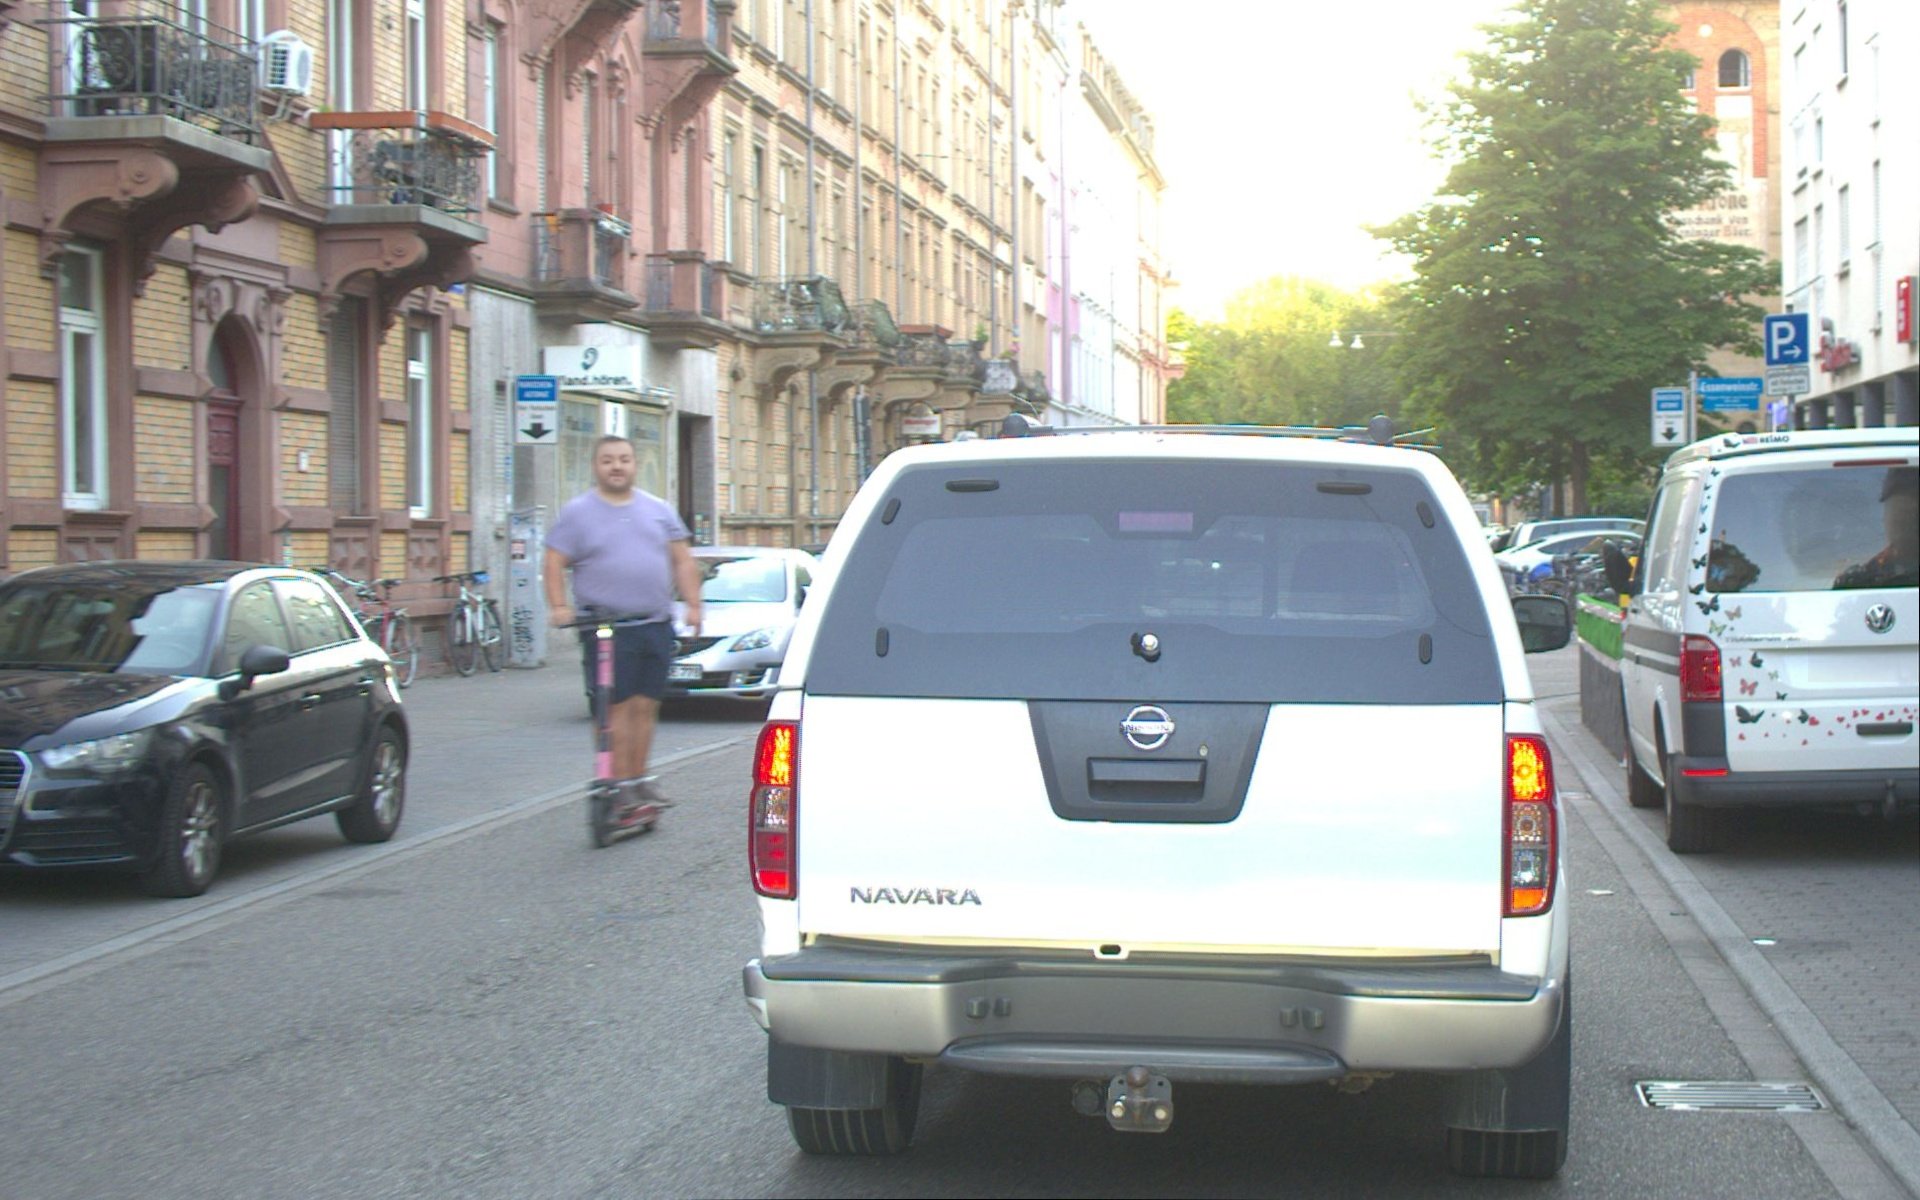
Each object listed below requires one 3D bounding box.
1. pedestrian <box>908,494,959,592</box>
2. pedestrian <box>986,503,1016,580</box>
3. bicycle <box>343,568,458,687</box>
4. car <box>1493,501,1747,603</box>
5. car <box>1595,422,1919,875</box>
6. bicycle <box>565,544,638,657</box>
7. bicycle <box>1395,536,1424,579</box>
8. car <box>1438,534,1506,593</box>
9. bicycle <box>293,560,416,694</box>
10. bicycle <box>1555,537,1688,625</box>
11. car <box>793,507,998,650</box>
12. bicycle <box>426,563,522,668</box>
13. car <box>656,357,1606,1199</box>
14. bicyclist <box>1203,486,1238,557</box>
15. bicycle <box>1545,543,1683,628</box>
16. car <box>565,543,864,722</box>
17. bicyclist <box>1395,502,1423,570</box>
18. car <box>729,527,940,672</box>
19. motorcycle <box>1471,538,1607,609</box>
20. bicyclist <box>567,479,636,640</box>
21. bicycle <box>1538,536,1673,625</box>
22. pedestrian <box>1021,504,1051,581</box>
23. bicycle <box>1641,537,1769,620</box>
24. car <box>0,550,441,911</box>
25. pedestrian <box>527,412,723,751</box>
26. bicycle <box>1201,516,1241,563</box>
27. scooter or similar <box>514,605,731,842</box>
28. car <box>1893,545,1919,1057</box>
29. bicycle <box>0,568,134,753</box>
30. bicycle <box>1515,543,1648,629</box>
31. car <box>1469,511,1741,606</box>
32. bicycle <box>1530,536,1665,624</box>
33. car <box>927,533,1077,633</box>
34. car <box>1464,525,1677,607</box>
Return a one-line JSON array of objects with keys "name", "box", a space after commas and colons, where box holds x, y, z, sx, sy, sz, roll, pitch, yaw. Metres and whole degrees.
[{"name": "pedestrian", "box": [-0.479, -1.026, 62.061, 0.555, 1.749, 1.021, 0, 0, 24]}, {"name": "pedestrian", "box": [0.963, -1.365, 80.424, 0.580, 1.765, 0.997, 2, 2, 3]}, {"name": "bicycle", "box": [-5.240, 0.242, 32.288, 0.549, 1.034, 1.759, 2, 2, 8]}, {"name": "car", "box": [12.069, -0.881, 63.096, 4.400, 1.642, 1.746, -2, 1, 7]}, {"name": "car", "box": [4.415, 0.138, 17.644, 1.959, 1.967, 5.001, -2, 1, 8]}, {"name": "bicycle", "box": [-3.902, 0.005, 37.315, 0.708, 1.192, 1.742, 0, 0, -8]}, {"name": "bicycle", "box": [11.739, -1.109, 89.806, 0.645, 1.077, 1.832, -2, 1, 6]}, {"name": "car", "box": [13.848, -0.998, 93.042, 1.676, 1.424, 4.477, -4, 1, 8]}, {"name": "bicycle", "box": [-5.428, 0.228, 30.897, 0.549, 1.119, 1.759, 2, 2, 8]}, {"name": "bicycle", "box": [9.004, -0.260, 46.798, 1.723, 1.114, 0.706, -2, 0, 11]}, {"name": "car", "box": [-0.724, -0.307, 41.822, 1.853, 1.628, 4.445, 1, 2, 7]}, {"name": "bicycle", "box": [-5.021, 0.143, 35.631, 0.449, 1.019, 1.847, 3, 2, 8]}, {"name": "car", "box": [0.728, 0.381, 9.542, 1.911, 1.847, 5.269, 1, 1, 9]}, {"name": "bicyclist", "box": [6.082, -1.830, 80.329, 0.645, 1.615, 0.918, -2, 1, -2]}, {"name": "bicycle", "box": [9.205, -0.198, 48.436, 1.809, 1.114, 0.707, -2, 0, 6]}, {"name": "car", "box": [-2.049, 0.224, 30.025, 1.723, 1.416, 4.581, 1, 1, 7]}, {"name": "bicyclist", "box": [11.735, -1.672, 89.887, 0.645, 1.754, 0.648, -2, 1, 6]}, {"name": "car", "box": [-1.273, -0.042, 36.304, 1.585, 1.416, 3.695, 1, 2, 8]}, {"name": "motorcycle", "box": [9.517, -0.430, 56.522, 2.057, 1.074, 0.664, -3, 0, -8]}, {"name": "bicyclist", "box": [-3.901, -0.438, 37.344, 0.708, 1.724, 0.843, 0, 0, -8]}, {"name": "bicycle", "box": [9.498, -0.292, 50.578, 1.790, 1.178, 0.733, -4, 0, 18]}, {"name": "pedestrian", "box": [1.770, -1.345, 80.485, 0.605, 1.766, 0.777, 2, 2, 3]}, {"name": "bicycle", "box": [10.616, -0.305, 49.029, 1.723, 1.114, 0.653, -2, 0, 11]}, {"name": "car", "box": [-3.856, 0.501, 16.016, 1.694, 1.416, 3.853, 1, 2, 10]}, {"name": "pedestrian", "box": [-1.671, -0.097, 17.245, 0.807, 1.654, 0.672, -1, 1, 8]}, {"name": "bicycle", "box": [6.100, -1.414, 80.325, 0.645, 1.077, 2.169, -2, 1, -2]}, {"name": "scooter or similar", "box": [-1.669, 0.598, 17.165, 0.807, 1.100, 1.172, -1, 1, 8]}, {"name": "car", "box": [3.430, 0.587, 8.399, 1.592, 1.496, 3.423, -2, 1, 5]}, {"name": "bicycle", "box": [-6.338, 0.385, 23.515, 0.527, 1.167, 2.047, 2, 2, 10]}, {"name": "bicycle", "box": [8.617, -0.192, 47.720, 1.723, 1.114, 0.707, -2, 0, 6]}, {"name": "car", "box": [11.302, -0.733, 60.414, 4.423, 1.450, 1.780, -3, 1, 2]}, {"name": "bicycle", "box": [9.538, -0.293, 51.423, 1.870, 1.178, 0.742, -4, 0, 13]}, {"name": "car", "box": [0.682, -0.291, 52.157, 1.758, 1.407, 4.507, 1, 2, 7]}, {"name": "car", "box": [12.091, -0.689, 68.313, 3.988, 1.451, 1.828, -2, 1, 5]}]
